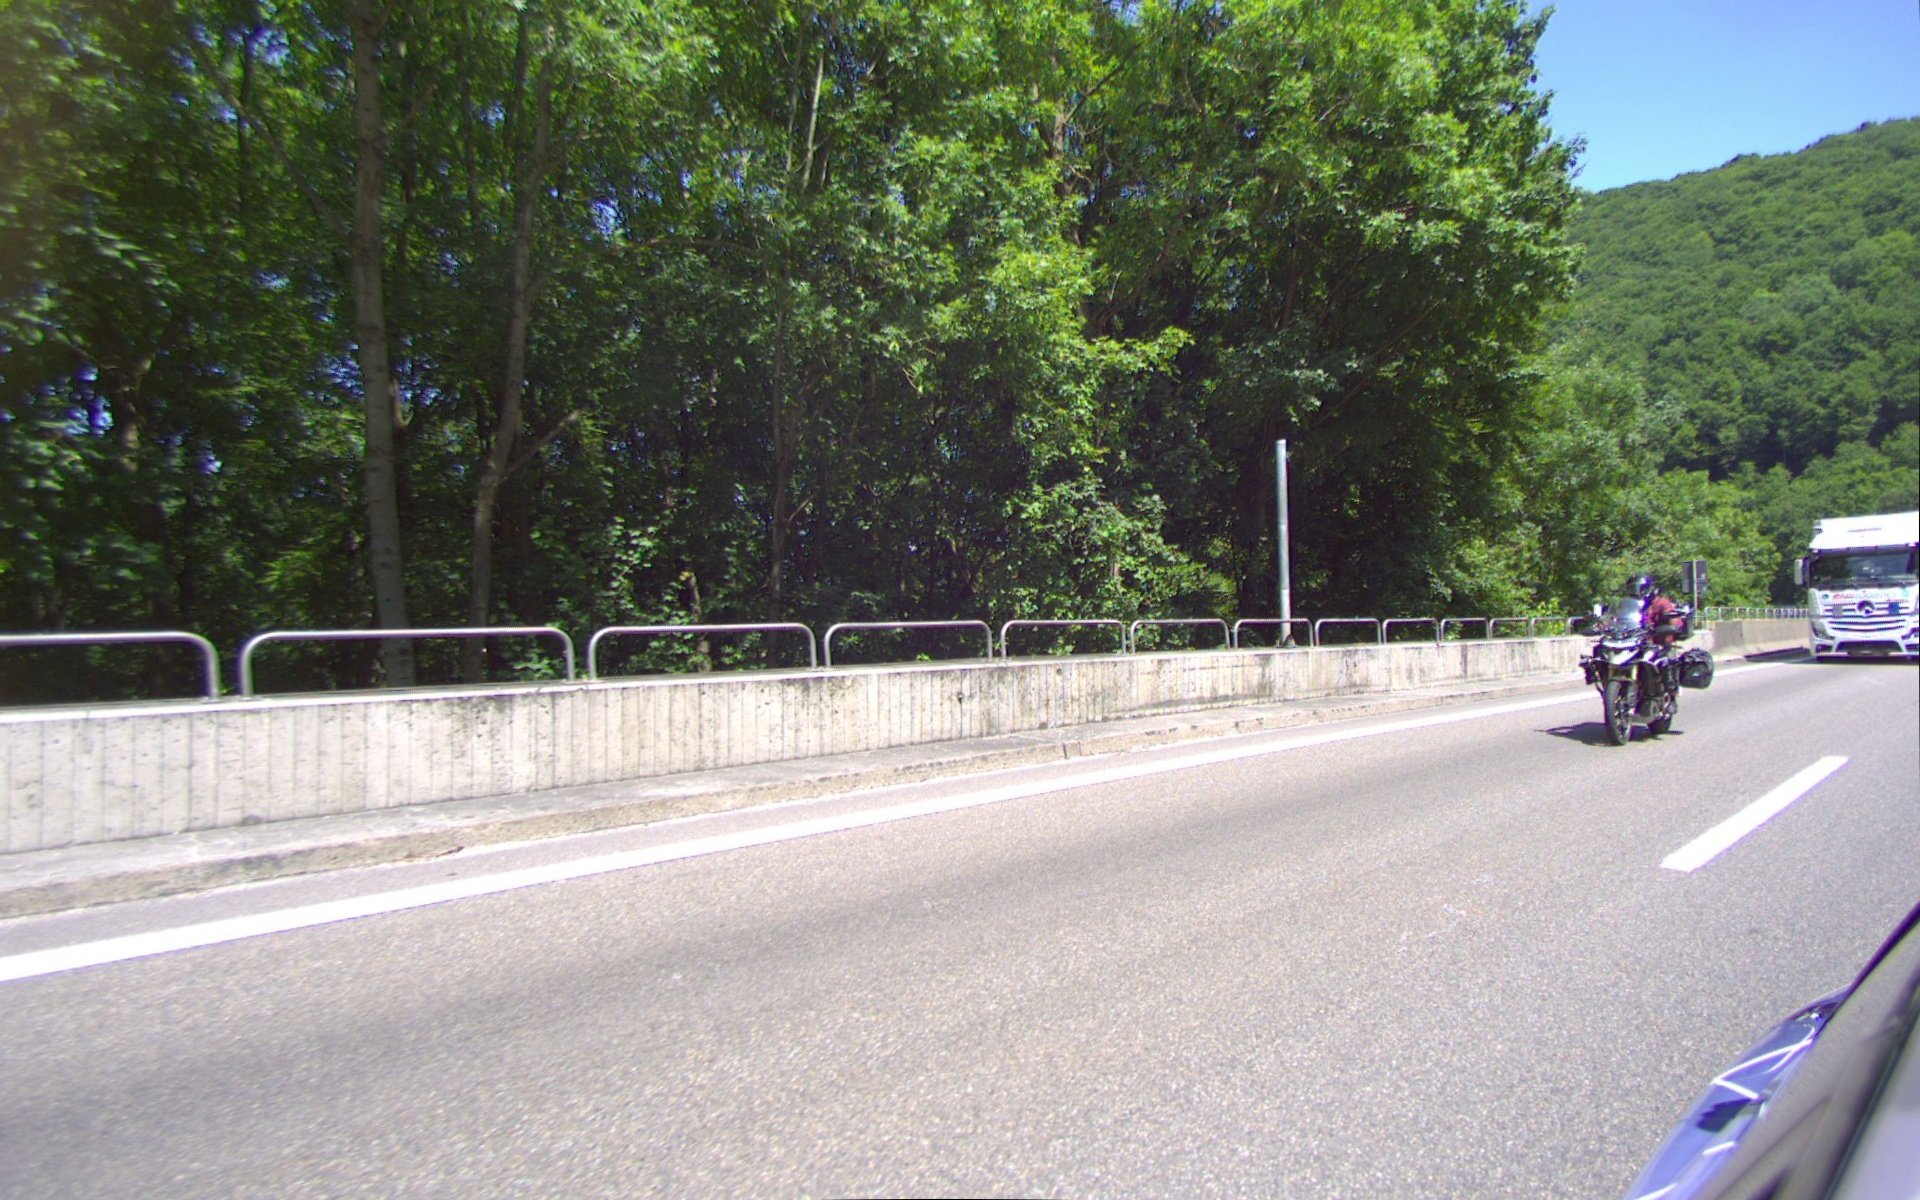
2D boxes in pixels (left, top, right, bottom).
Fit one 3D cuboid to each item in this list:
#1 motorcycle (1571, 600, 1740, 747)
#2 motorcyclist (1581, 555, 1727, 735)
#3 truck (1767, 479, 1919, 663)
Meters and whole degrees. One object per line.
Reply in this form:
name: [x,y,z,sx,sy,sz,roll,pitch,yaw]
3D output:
motorcycle: [7.737,0.717,11.198,2.635,1.437,0.974,0,0,-42]
motorcyclist: [7.618,0.450,11.098,1.315,1.823,1.062,0,0,-43]
truck: [27.258,-0.652,29.614,16.422,4.186,2.963,0,-3,-43]
